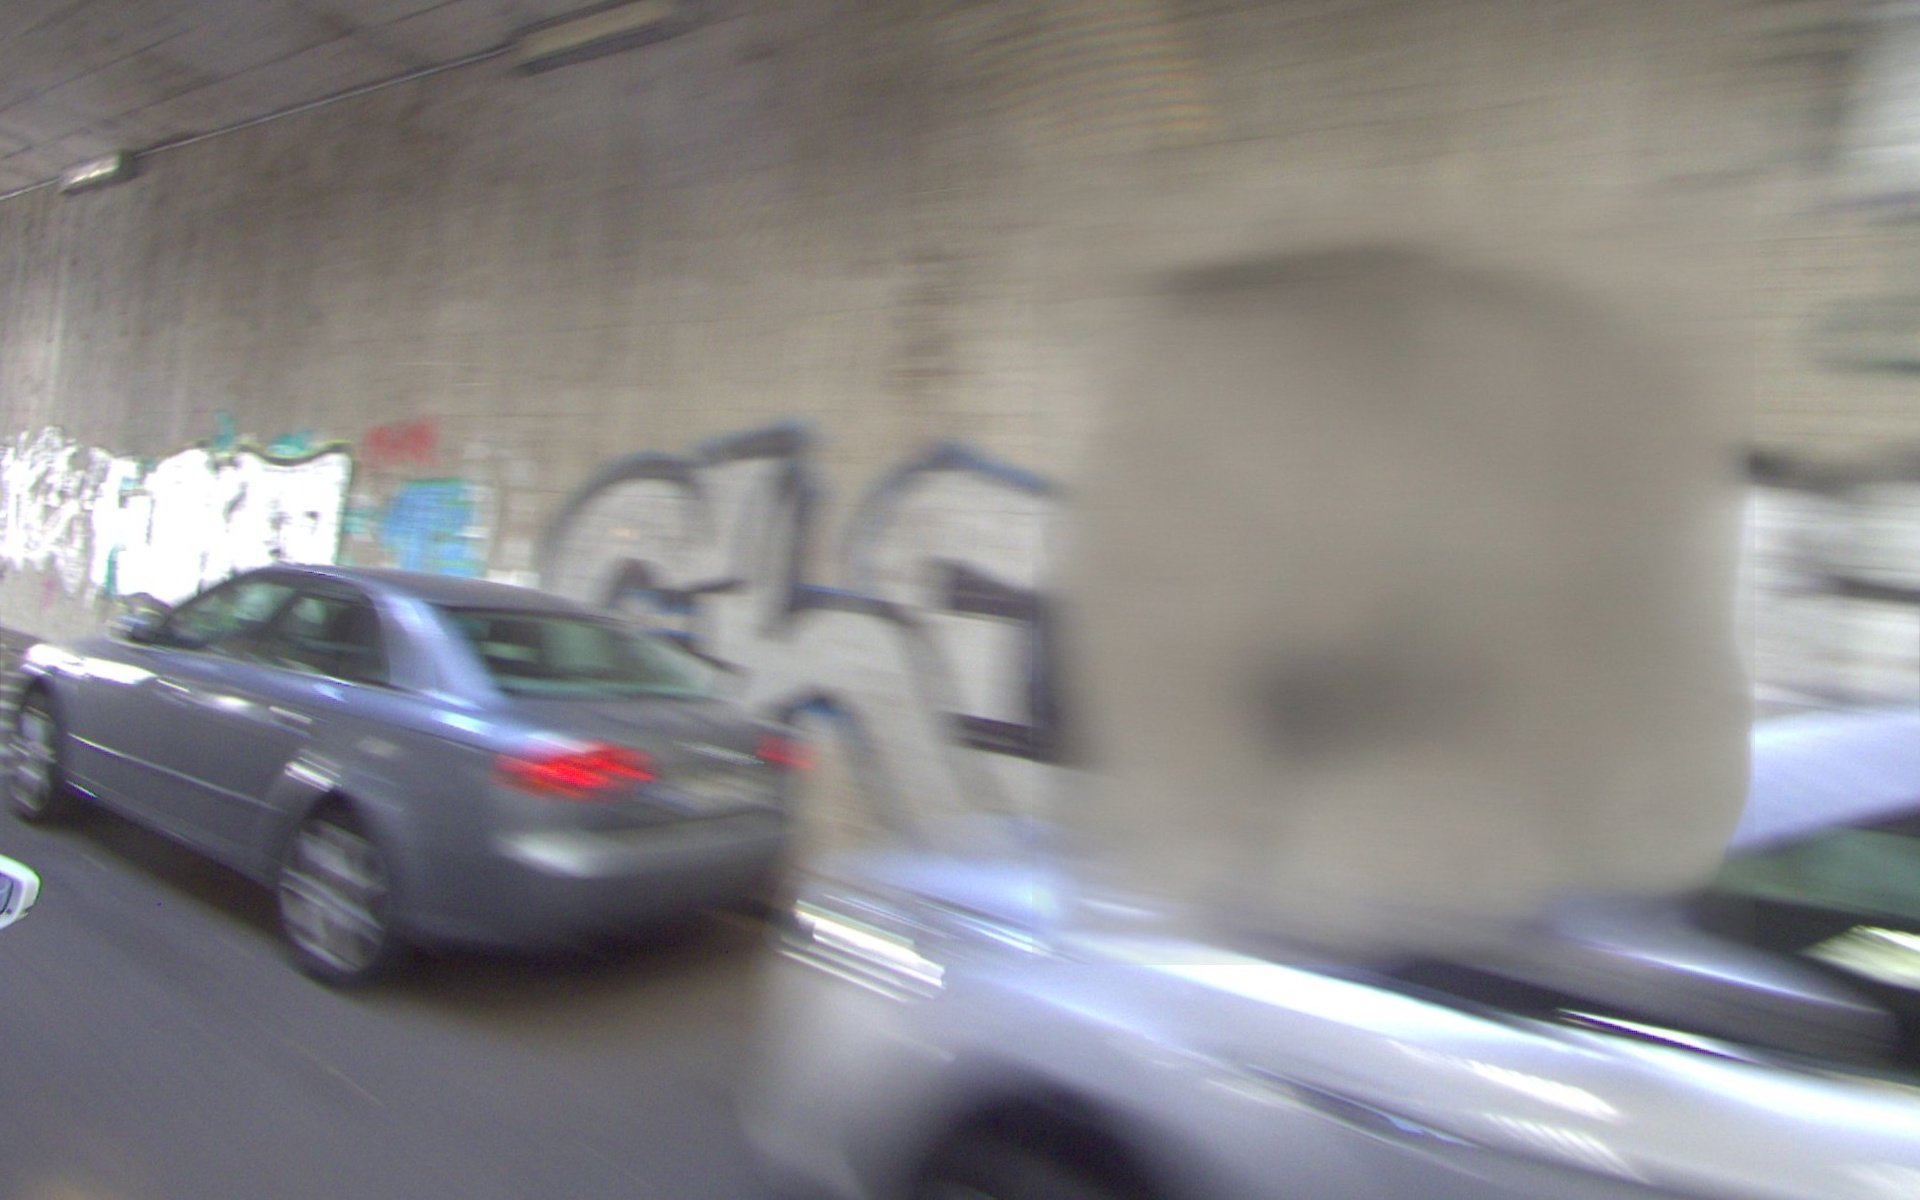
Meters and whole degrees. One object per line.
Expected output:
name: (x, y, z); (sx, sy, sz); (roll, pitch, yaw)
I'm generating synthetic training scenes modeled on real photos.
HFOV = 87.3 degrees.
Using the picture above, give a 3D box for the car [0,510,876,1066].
car: (-2.716, 0.525, 4.736); (4.299, 1.390, 1.705); (7, -2, 30)

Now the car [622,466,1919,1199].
car: (1.685, 0.879, 1.805); (4.296, 1.685, 1.857); (7, -1, 30)
